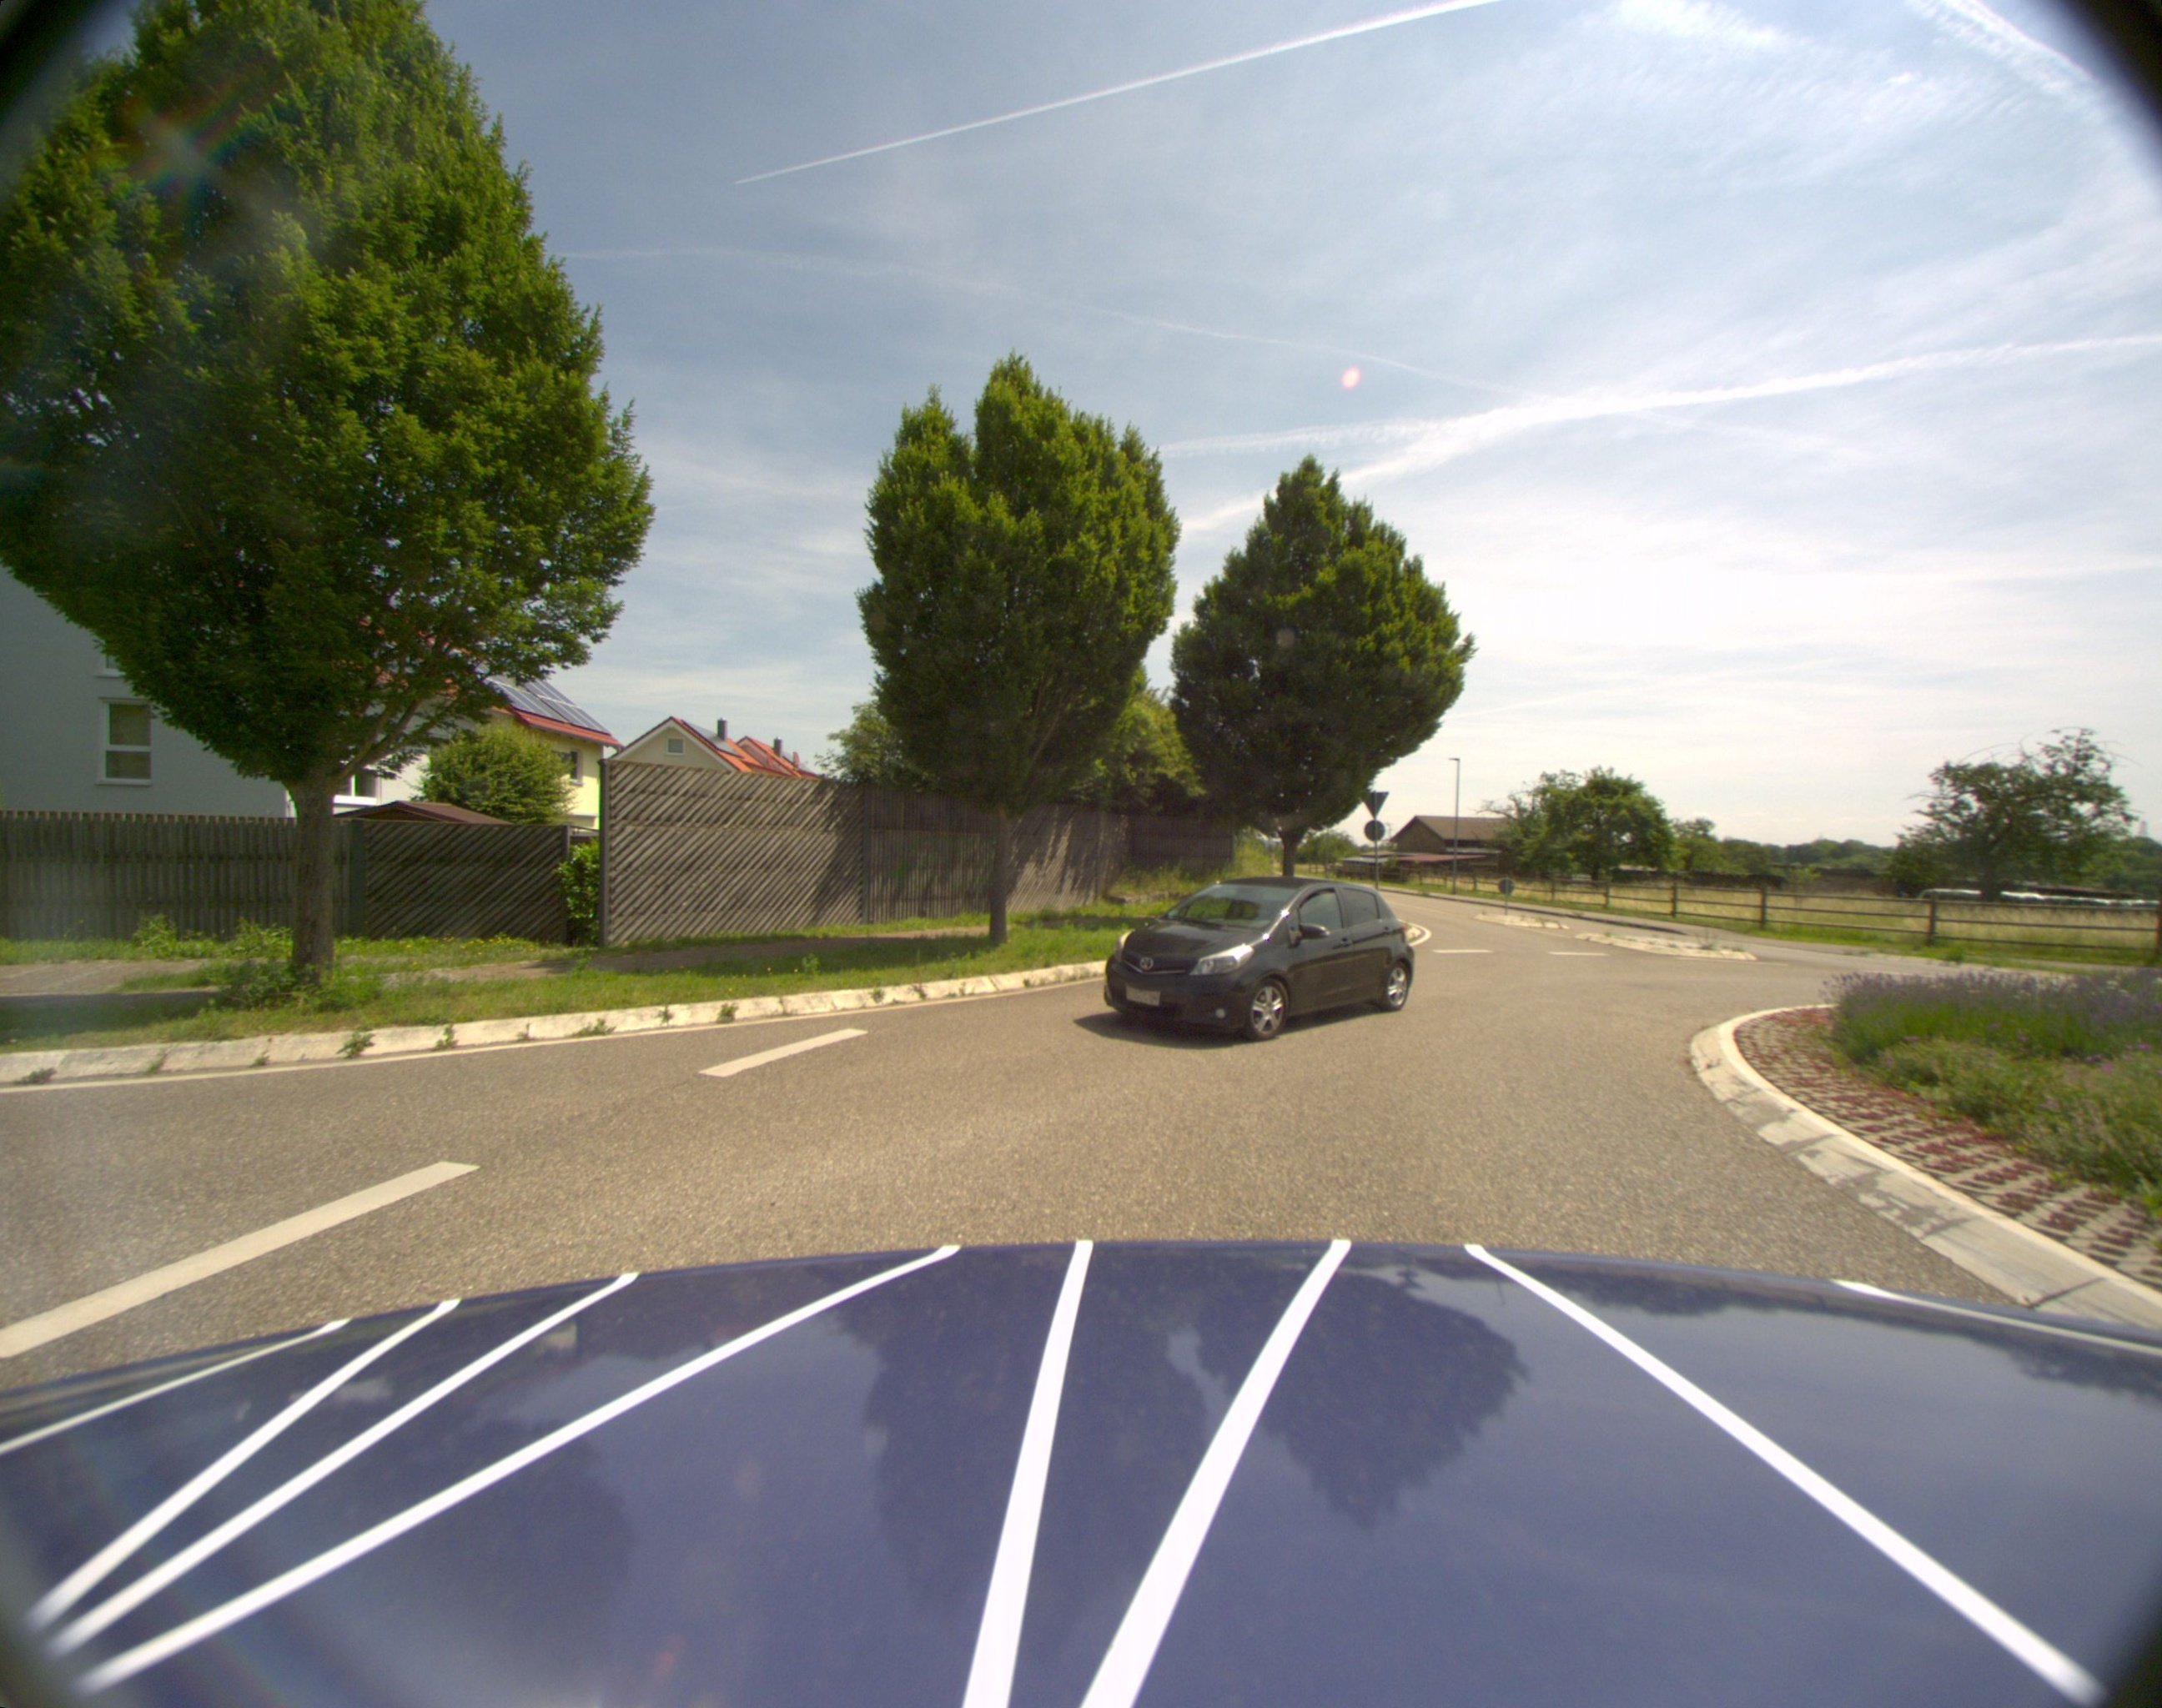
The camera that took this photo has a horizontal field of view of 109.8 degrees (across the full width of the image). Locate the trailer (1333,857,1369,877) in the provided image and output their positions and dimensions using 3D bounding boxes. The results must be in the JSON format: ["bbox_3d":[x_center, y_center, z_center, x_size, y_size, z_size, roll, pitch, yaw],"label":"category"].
[{"bbox_3d":[26.645,1.252,75.165,2.159,1.693,5.031,3,1,5],"label":"trailer"}]

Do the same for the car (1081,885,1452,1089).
[{"bbox_3d":[2.206,1.145,8.158,4.442,1.456,1.673,0,1,-43],"label":"car"}]
